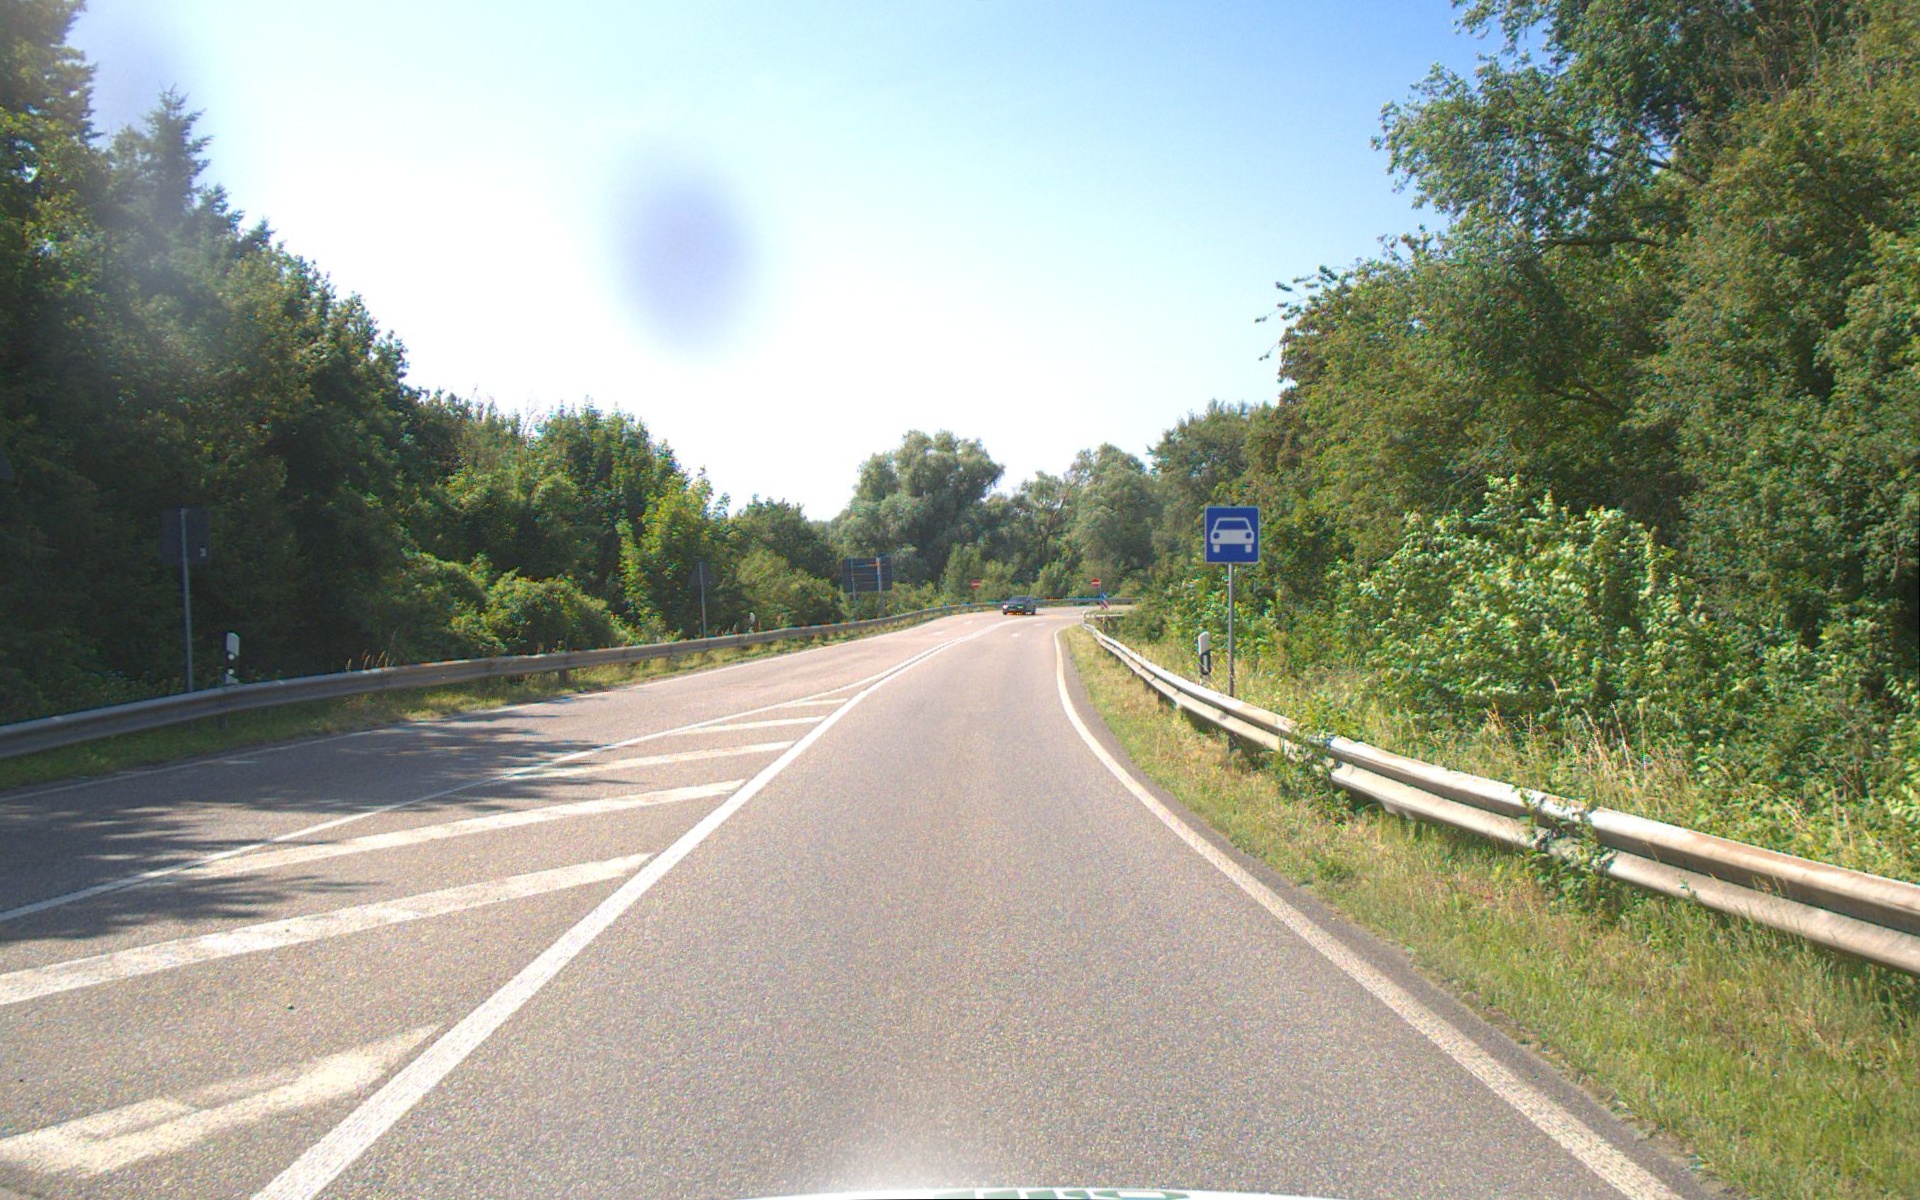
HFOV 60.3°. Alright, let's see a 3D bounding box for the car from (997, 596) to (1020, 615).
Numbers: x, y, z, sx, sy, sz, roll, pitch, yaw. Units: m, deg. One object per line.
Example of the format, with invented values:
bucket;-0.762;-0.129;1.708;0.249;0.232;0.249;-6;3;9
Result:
car;3.791;0.446;128.519;1.573;1.499;4.222;0;0;5
